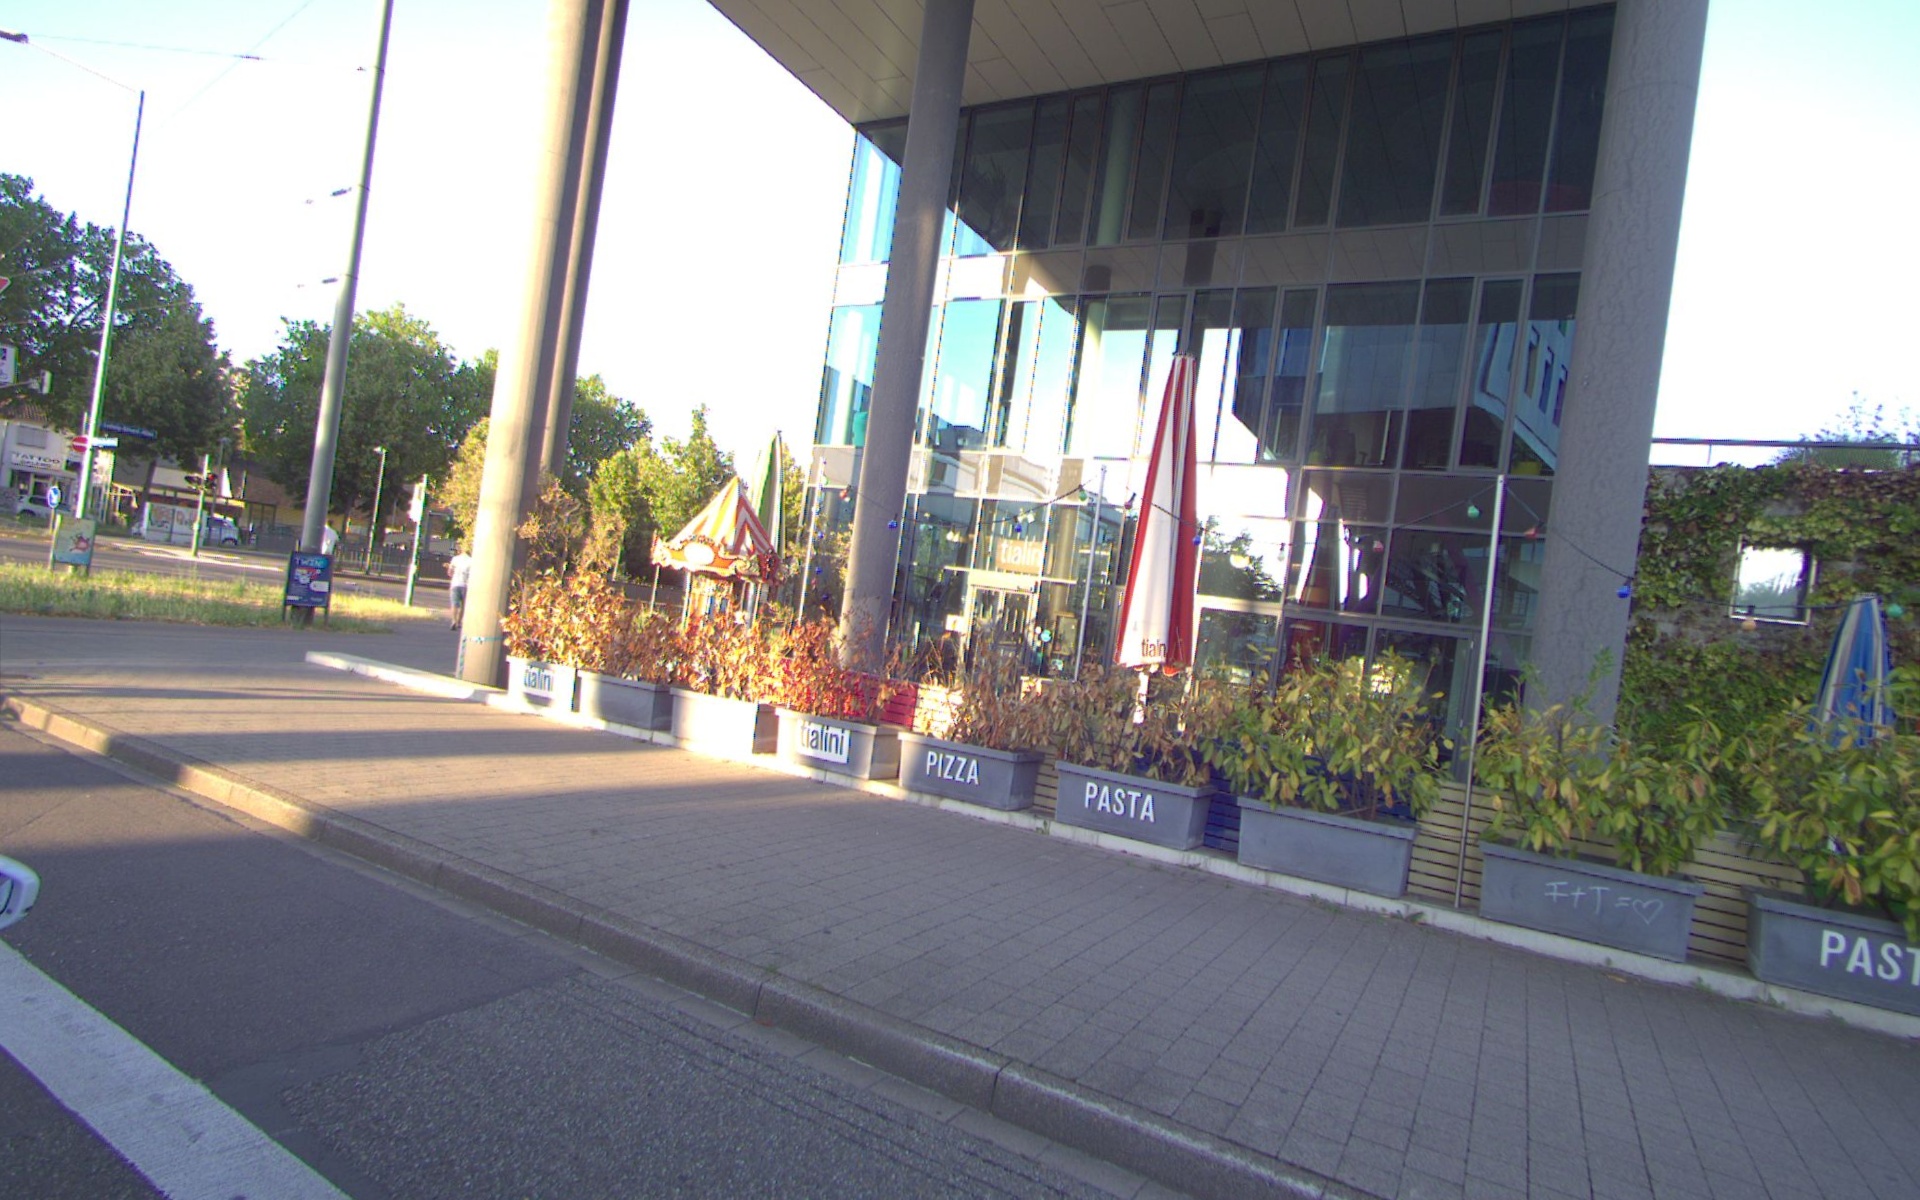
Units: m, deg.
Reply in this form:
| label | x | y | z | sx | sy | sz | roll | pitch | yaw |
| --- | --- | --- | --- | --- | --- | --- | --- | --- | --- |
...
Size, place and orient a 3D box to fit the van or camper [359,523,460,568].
| label | x | y | z | sx | sy | sz | roll | pitch | yaw |
| --- | --- | --- | --- | --- | --- | --- | --- | --- | --- |
| van or camper | -43.916 | -4.303 | 80.395 | 2.229 | 2.438 | 6.569 | 7 | -2 | 36 |

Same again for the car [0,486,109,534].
| label | x | y | z | sx | sy | sz | roll | pitch | yaw |
| --- | --- | --- | --- | --- | --- | --- | --- | --- | --- |
| car | -50.545 | -4.985 | 56.062 | 1.968 | 1.868 | 4.236 | 7 | -2 | 34 |

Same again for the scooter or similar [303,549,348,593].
| label | x | y | z | sx | sy | sz | roll | pitch | yaw |
| --- | --- | --- | --- | --- | --- | --- | --- | --- | --- |
| scooter or similar | -18.232 | -0.838 | 28.913 | 1.222 | 1.103 | 0.511 | 7 | -1 | 32 |

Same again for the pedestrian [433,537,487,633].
| label | x | y | z | sx | sy | sz | roll | pitch | yaw |
| --- | --- | --- | --- | --- | --- | --- | --- | --- | --- |
| pedestrian | -10.180 | -0.309 | 20.478 | 0.755 | 1.812 | 0.796 | 8 | -1 | -28 |

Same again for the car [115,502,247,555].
| label | x | y | z | sx | sy | sz | roll | pitch | yaw |
| --- | --- | --- | --- | --- | --- | --- | --- | --- | --- |
| car | -37.381 | -3.404 | 48.422 | 1.829 | 1.748 | 4.547 | 7 | -2 | 27 |

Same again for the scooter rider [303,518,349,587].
| label | x | y | z | sx | sy | sz | roll | pitch | yaw |
| --- | --- | --- | --- | --- | --- | --- | --- | --- | --- |
| scooter rider | -18.256 | -1.359 | 28.976 | 0.658 | 1.876 | 0.703 | 7 | -1 | 31 |

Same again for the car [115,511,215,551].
| label | x | y | z | sx | sy | sz | roll | pitch | yaw |
| --- | --- | --- | --- | --- | --- | --- | --- | --- | --- |
| car | -47.714 | -4.127 | 60.474 | 1.968 | 1.595 | 4.236 | 7 | -2 | 34 |
